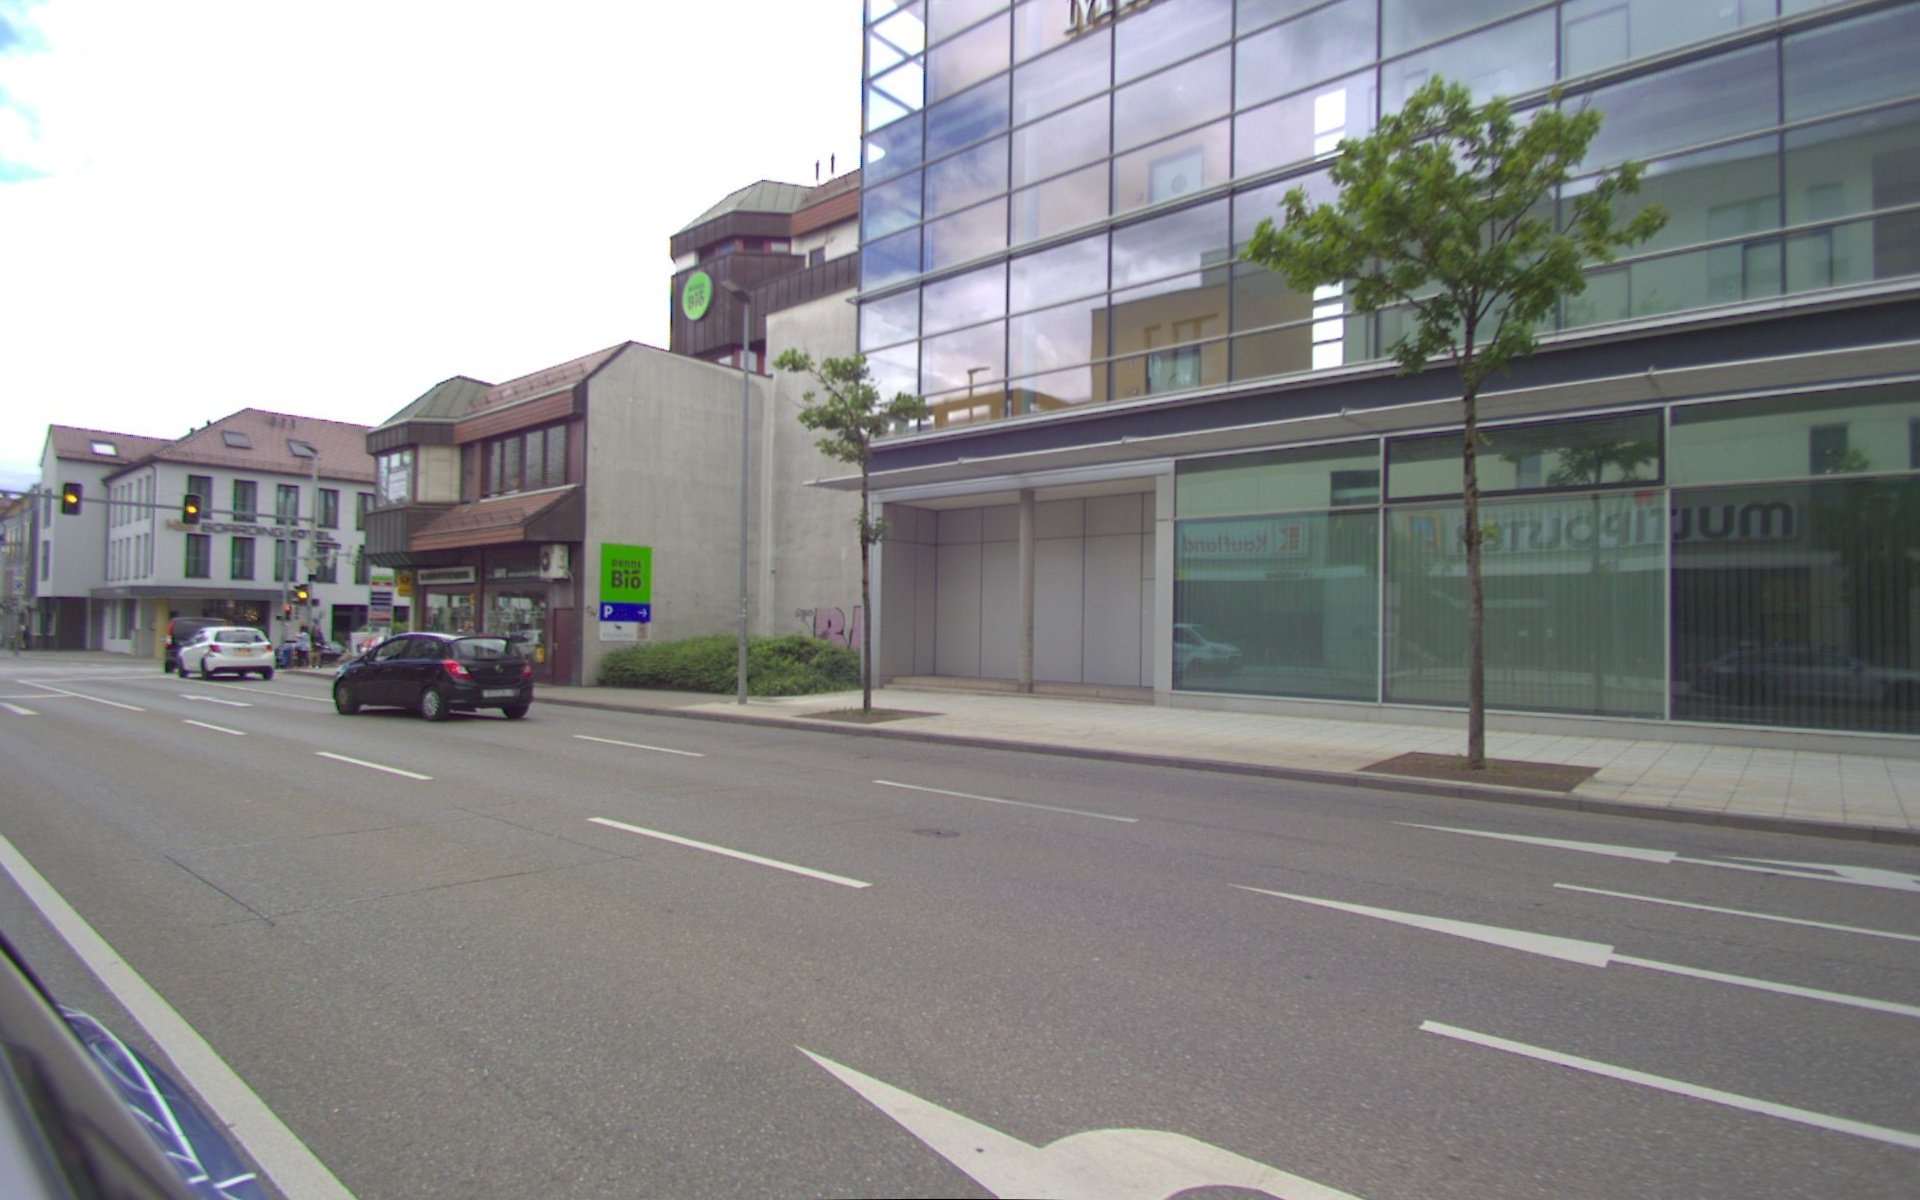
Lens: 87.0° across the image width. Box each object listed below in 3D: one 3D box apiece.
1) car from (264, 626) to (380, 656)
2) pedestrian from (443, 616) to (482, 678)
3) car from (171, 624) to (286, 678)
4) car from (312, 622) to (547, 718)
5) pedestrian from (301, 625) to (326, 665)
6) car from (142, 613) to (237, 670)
[{"bbox_3d":[-28.007,1.812,44.496,1.737,1.250,3.951,-1,-3,36],"label":"car"},{"bbox_3d":[-13.330,1.259,27.120,0.693,1.636,0.693,-1,-3,41],"label":"pedestrian"},{"bbox_3d":[-21.618,1.464,29.872,3.999,1.478,1.912,-1,-3,42],"label":"car"},{"bbox_3d":[-9.206,1.143,17.505,3.985,1.478,1.785,-1,-2,31],"label":"car"},{"bbox_3d":[-25.033,1.756,39.187,0.577,1.527,0.552,0,-2,8],"label":"pedestrian"},{"bbox_3d":[-27.452,1.469,36.019,3.999,1.909,1.912,-1,-3,42],"label":"car"}]
